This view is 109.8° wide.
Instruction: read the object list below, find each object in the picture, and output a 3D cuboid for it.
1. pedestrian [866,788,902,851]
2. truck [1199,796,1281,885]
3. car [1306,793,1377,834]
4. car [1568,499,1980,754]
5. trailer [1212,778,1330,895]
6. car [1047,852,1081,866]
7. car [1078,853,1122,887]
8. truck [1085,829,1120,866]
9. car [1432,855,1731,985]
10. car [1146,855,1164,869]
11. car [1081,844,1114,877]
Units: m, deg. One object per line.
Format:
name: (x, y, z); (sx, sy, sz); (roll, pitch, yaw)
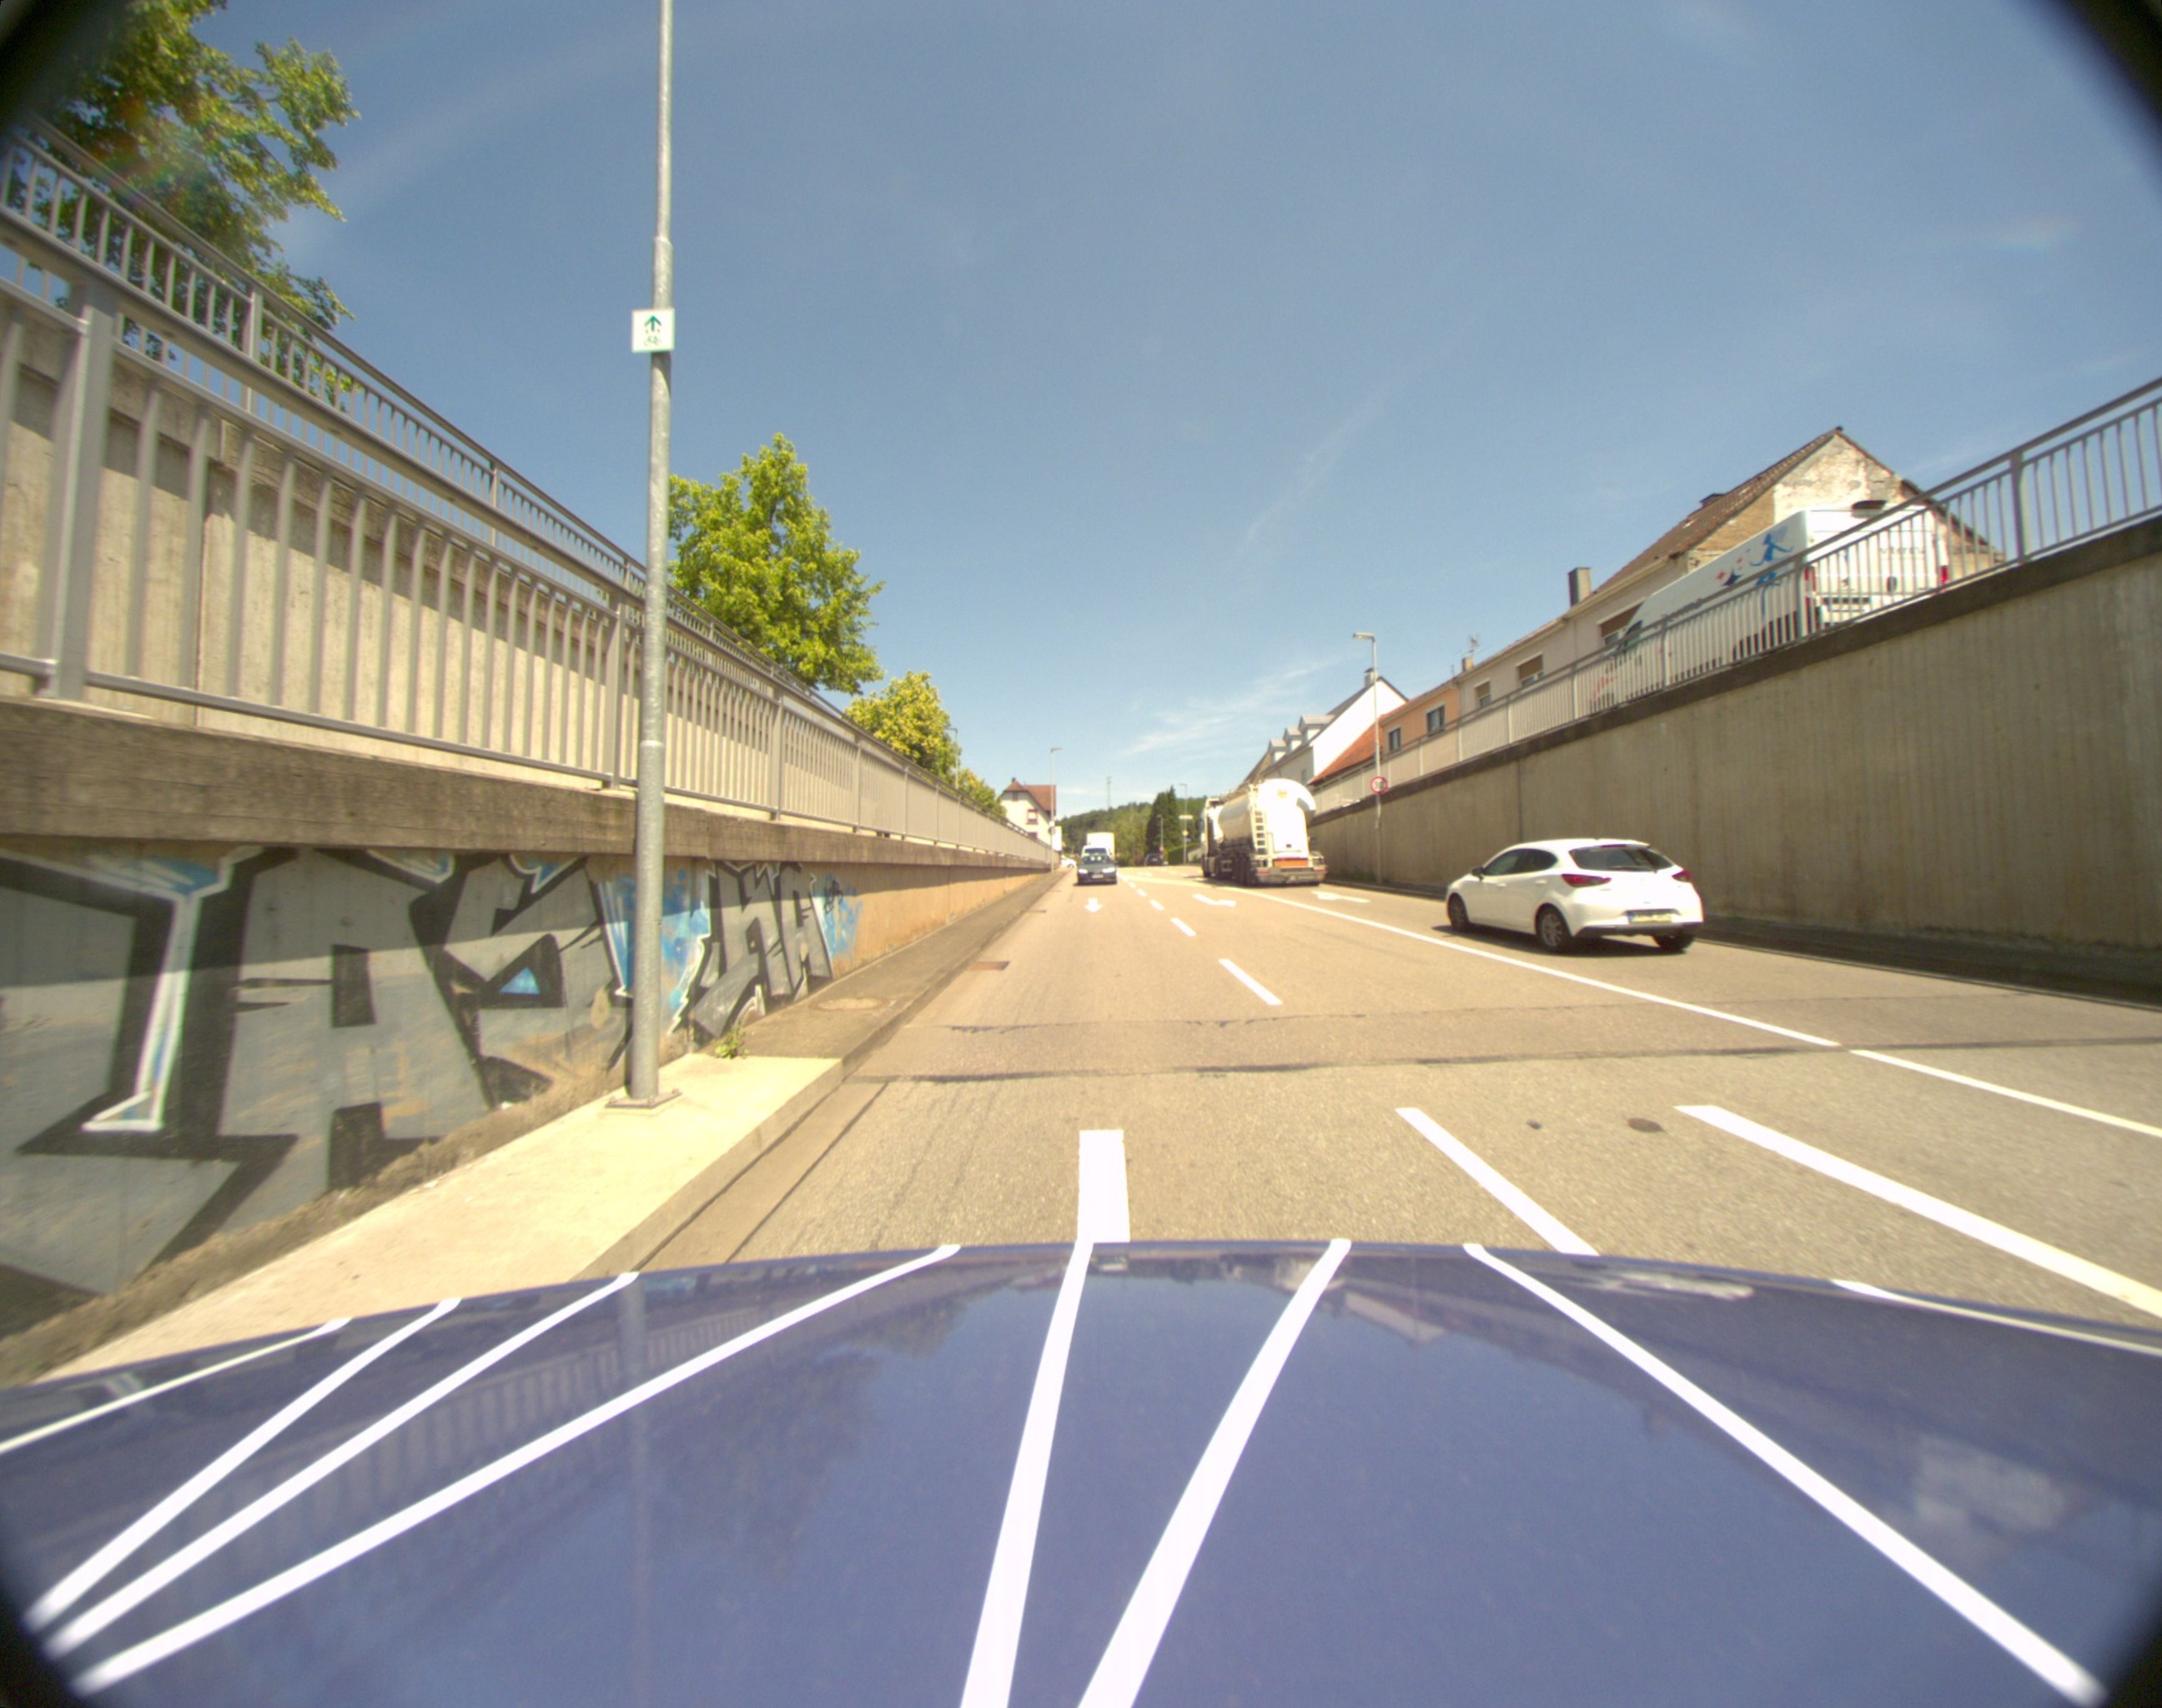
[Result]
pedestrian: (-5.649, -0.966, 21.821); (0.838, 1.771, 0.788); (0, 0, 1)
truck: (7.491, -0.617, 36.617); (2.668, 3.838, 6.580); (-1, 1, 2)
car: (12.149, -1.845, 35.695); (1.818, 1.453, 4.312); (-2, -3, 0)
car: (11.535, -3.570, 13.503); (2.070, 2.520, 5.664); (-2, -3, 1)
trailer: (7.336, -0.632, 30.807); (2.616, 3.941, 9.346); (-1, 1, 2)
car: (-1.908, 0.591, 83.801); (3.680, 1.469, 1.776); (1, -1, -4)
car: (0.824, 0.687, 35.166); (1.864, 1.441, 3.999); (-1, 0, -1)
truck: (2.098, -0.663, 75.918); (3.149, 3.467, 8.270); (-1, 0, -1)
car: (6.821, 0.776, 10.965); (1.686, 1.432, 4.093); (-2, 1, 2)
car: (8.206, 0.899, 84.282); (1.765, 1.480, 4.369); (-1, 0, 2)
car: (1.077, 0.403, 49.373); (1.998, 2.002, 4.548); (-2, 1, 1)
